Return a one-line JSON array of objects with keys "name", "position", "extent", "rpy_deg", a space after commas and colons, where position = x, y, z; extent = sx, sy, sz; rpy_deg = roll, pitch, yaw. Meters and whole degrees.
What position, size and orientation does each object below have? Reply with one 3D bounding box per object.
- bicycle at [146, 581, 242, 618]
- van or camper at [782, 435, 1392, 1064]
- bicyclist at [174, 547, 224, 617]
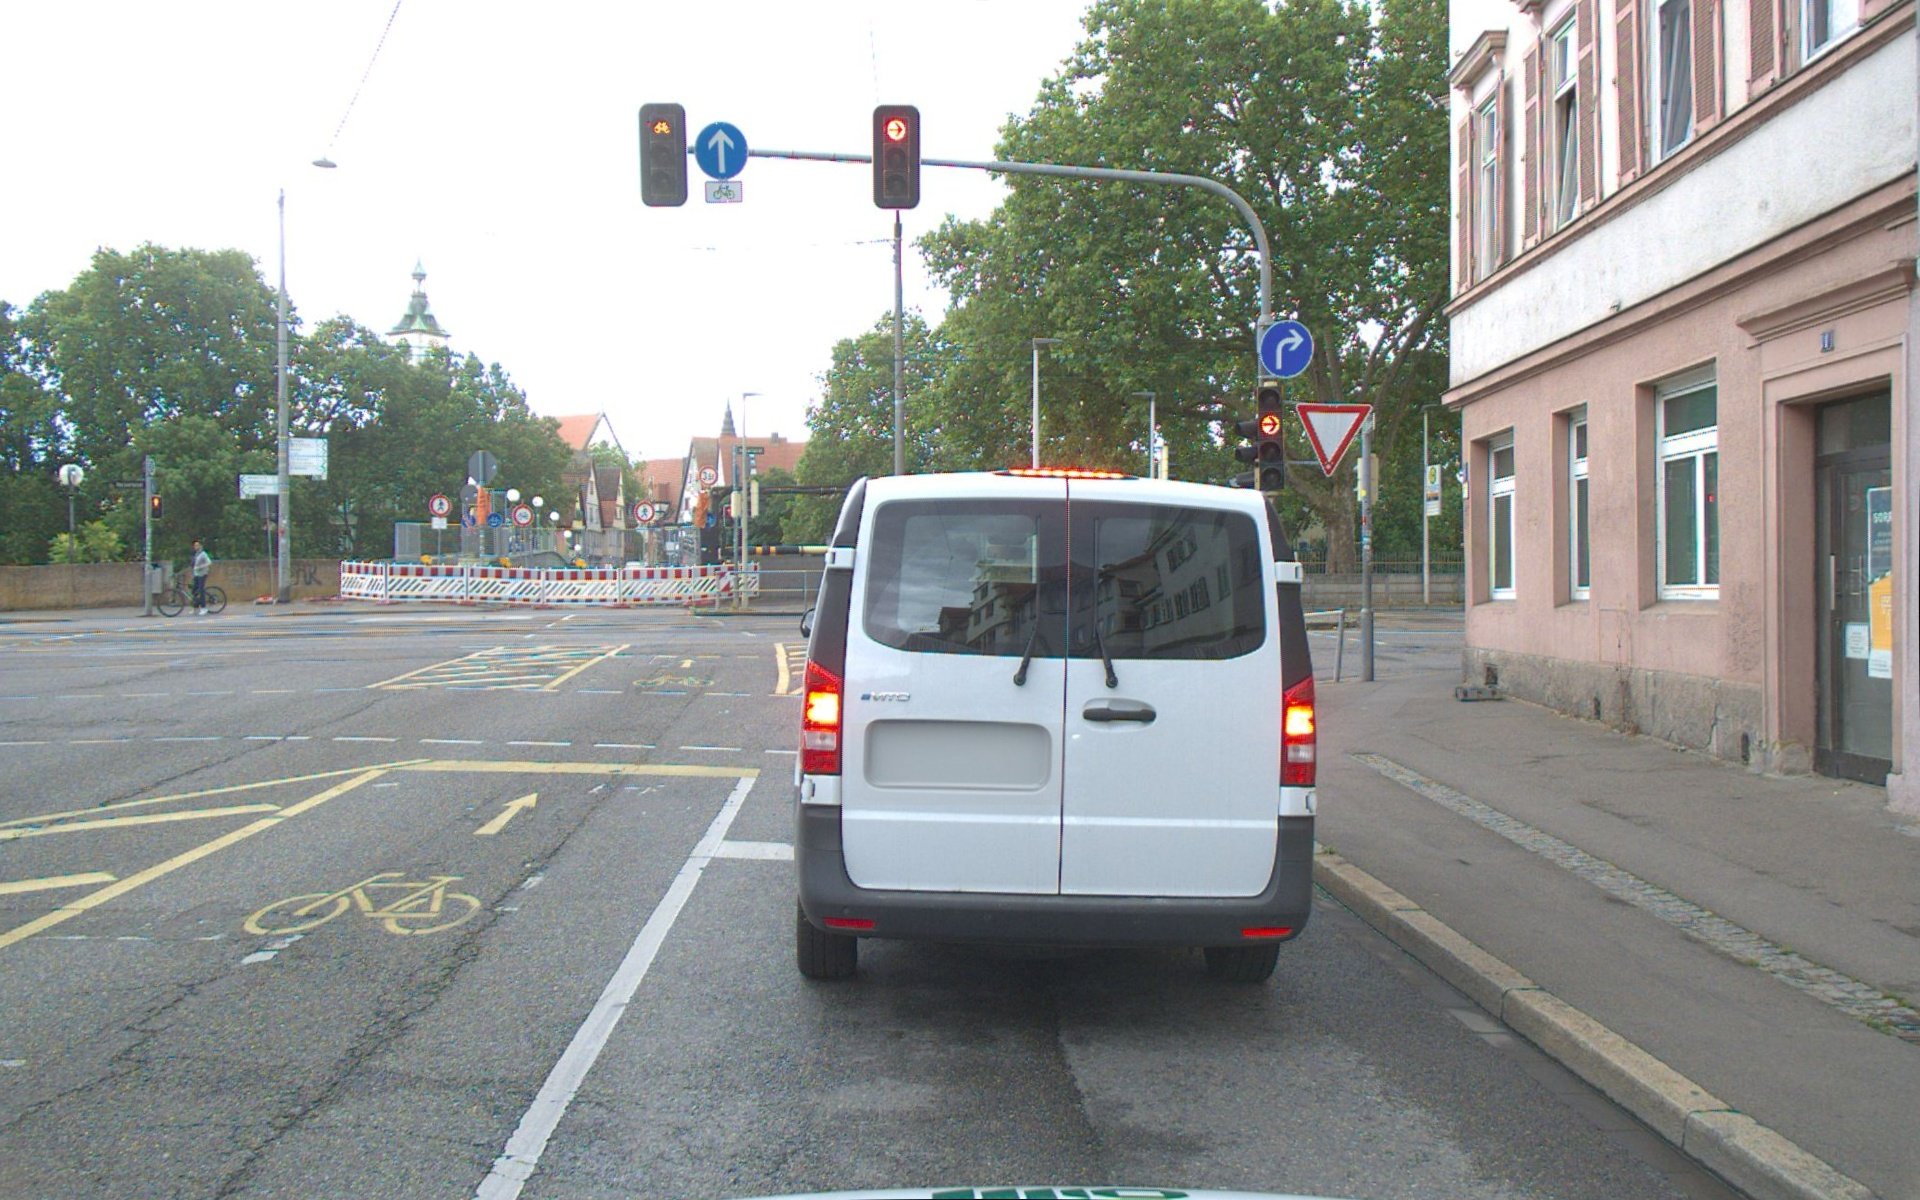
[{"name": "bicycle", "position": [-19.713, -0.027, 42.583], "extent": [2.120, 0.907, 0.749], "rpy_deg": [-1, 2, -42]}, {"name": "van or camper", "position": [0.264, 0.402, 7.419], "extent": [1.899, 1.958, 4.438], "rpy_deg": [1, 2, -4]}, {"name": "bicyclist", "position": [-19.620, -0.479, 42.644], "extent": [0.996, 1.774, 0.743], "rpy_deg": [-1, 1, -42]}]
